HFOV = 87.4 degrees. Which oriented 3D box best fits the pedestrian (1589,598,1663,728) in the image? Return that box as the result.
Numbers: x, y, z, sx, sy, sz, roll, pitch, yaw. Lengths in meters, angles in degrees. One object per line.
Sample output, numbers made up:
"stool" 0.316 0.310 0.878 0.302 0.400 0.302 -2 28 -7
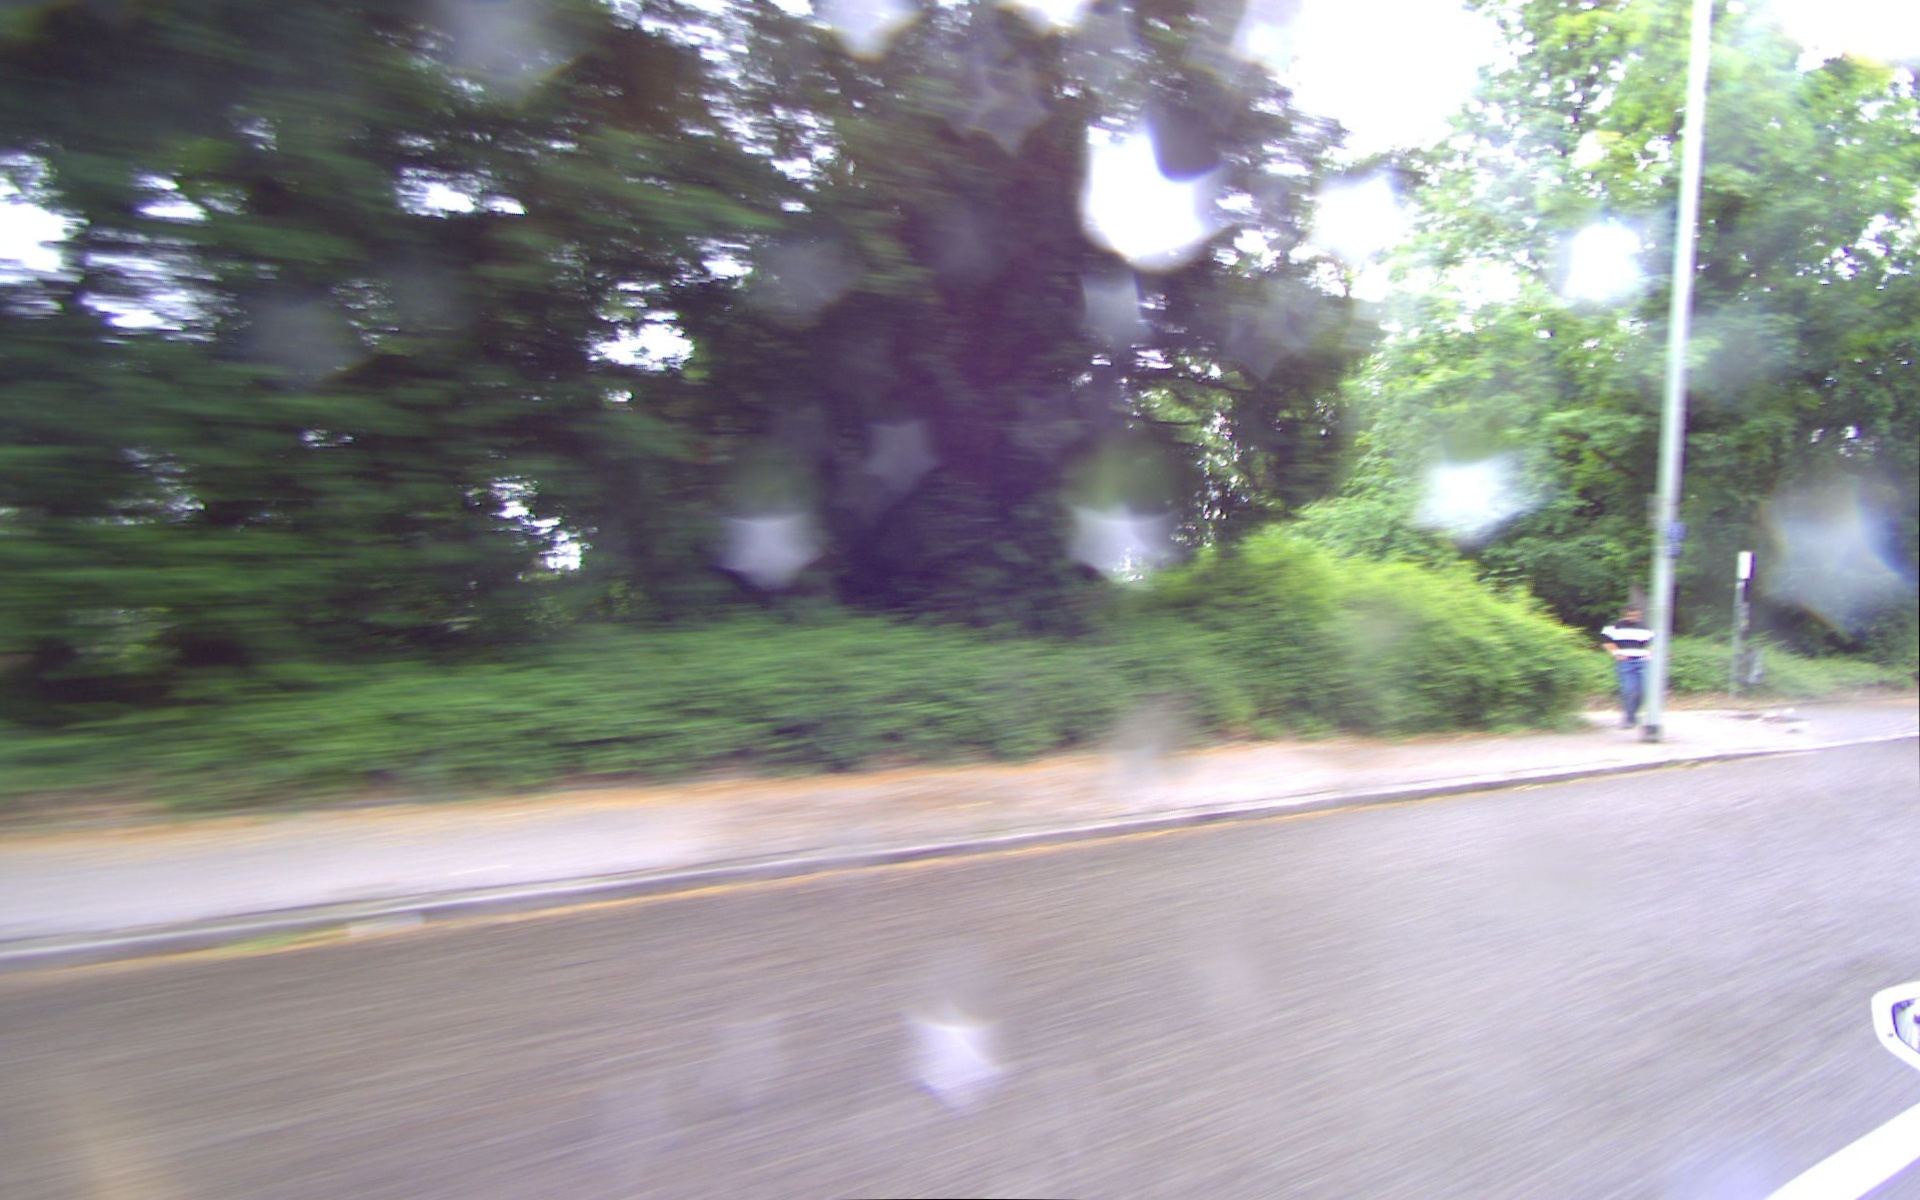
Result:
"pedestrian" 8.940 0.823 13.510 0.694 1.666 0.713 1 0 24
